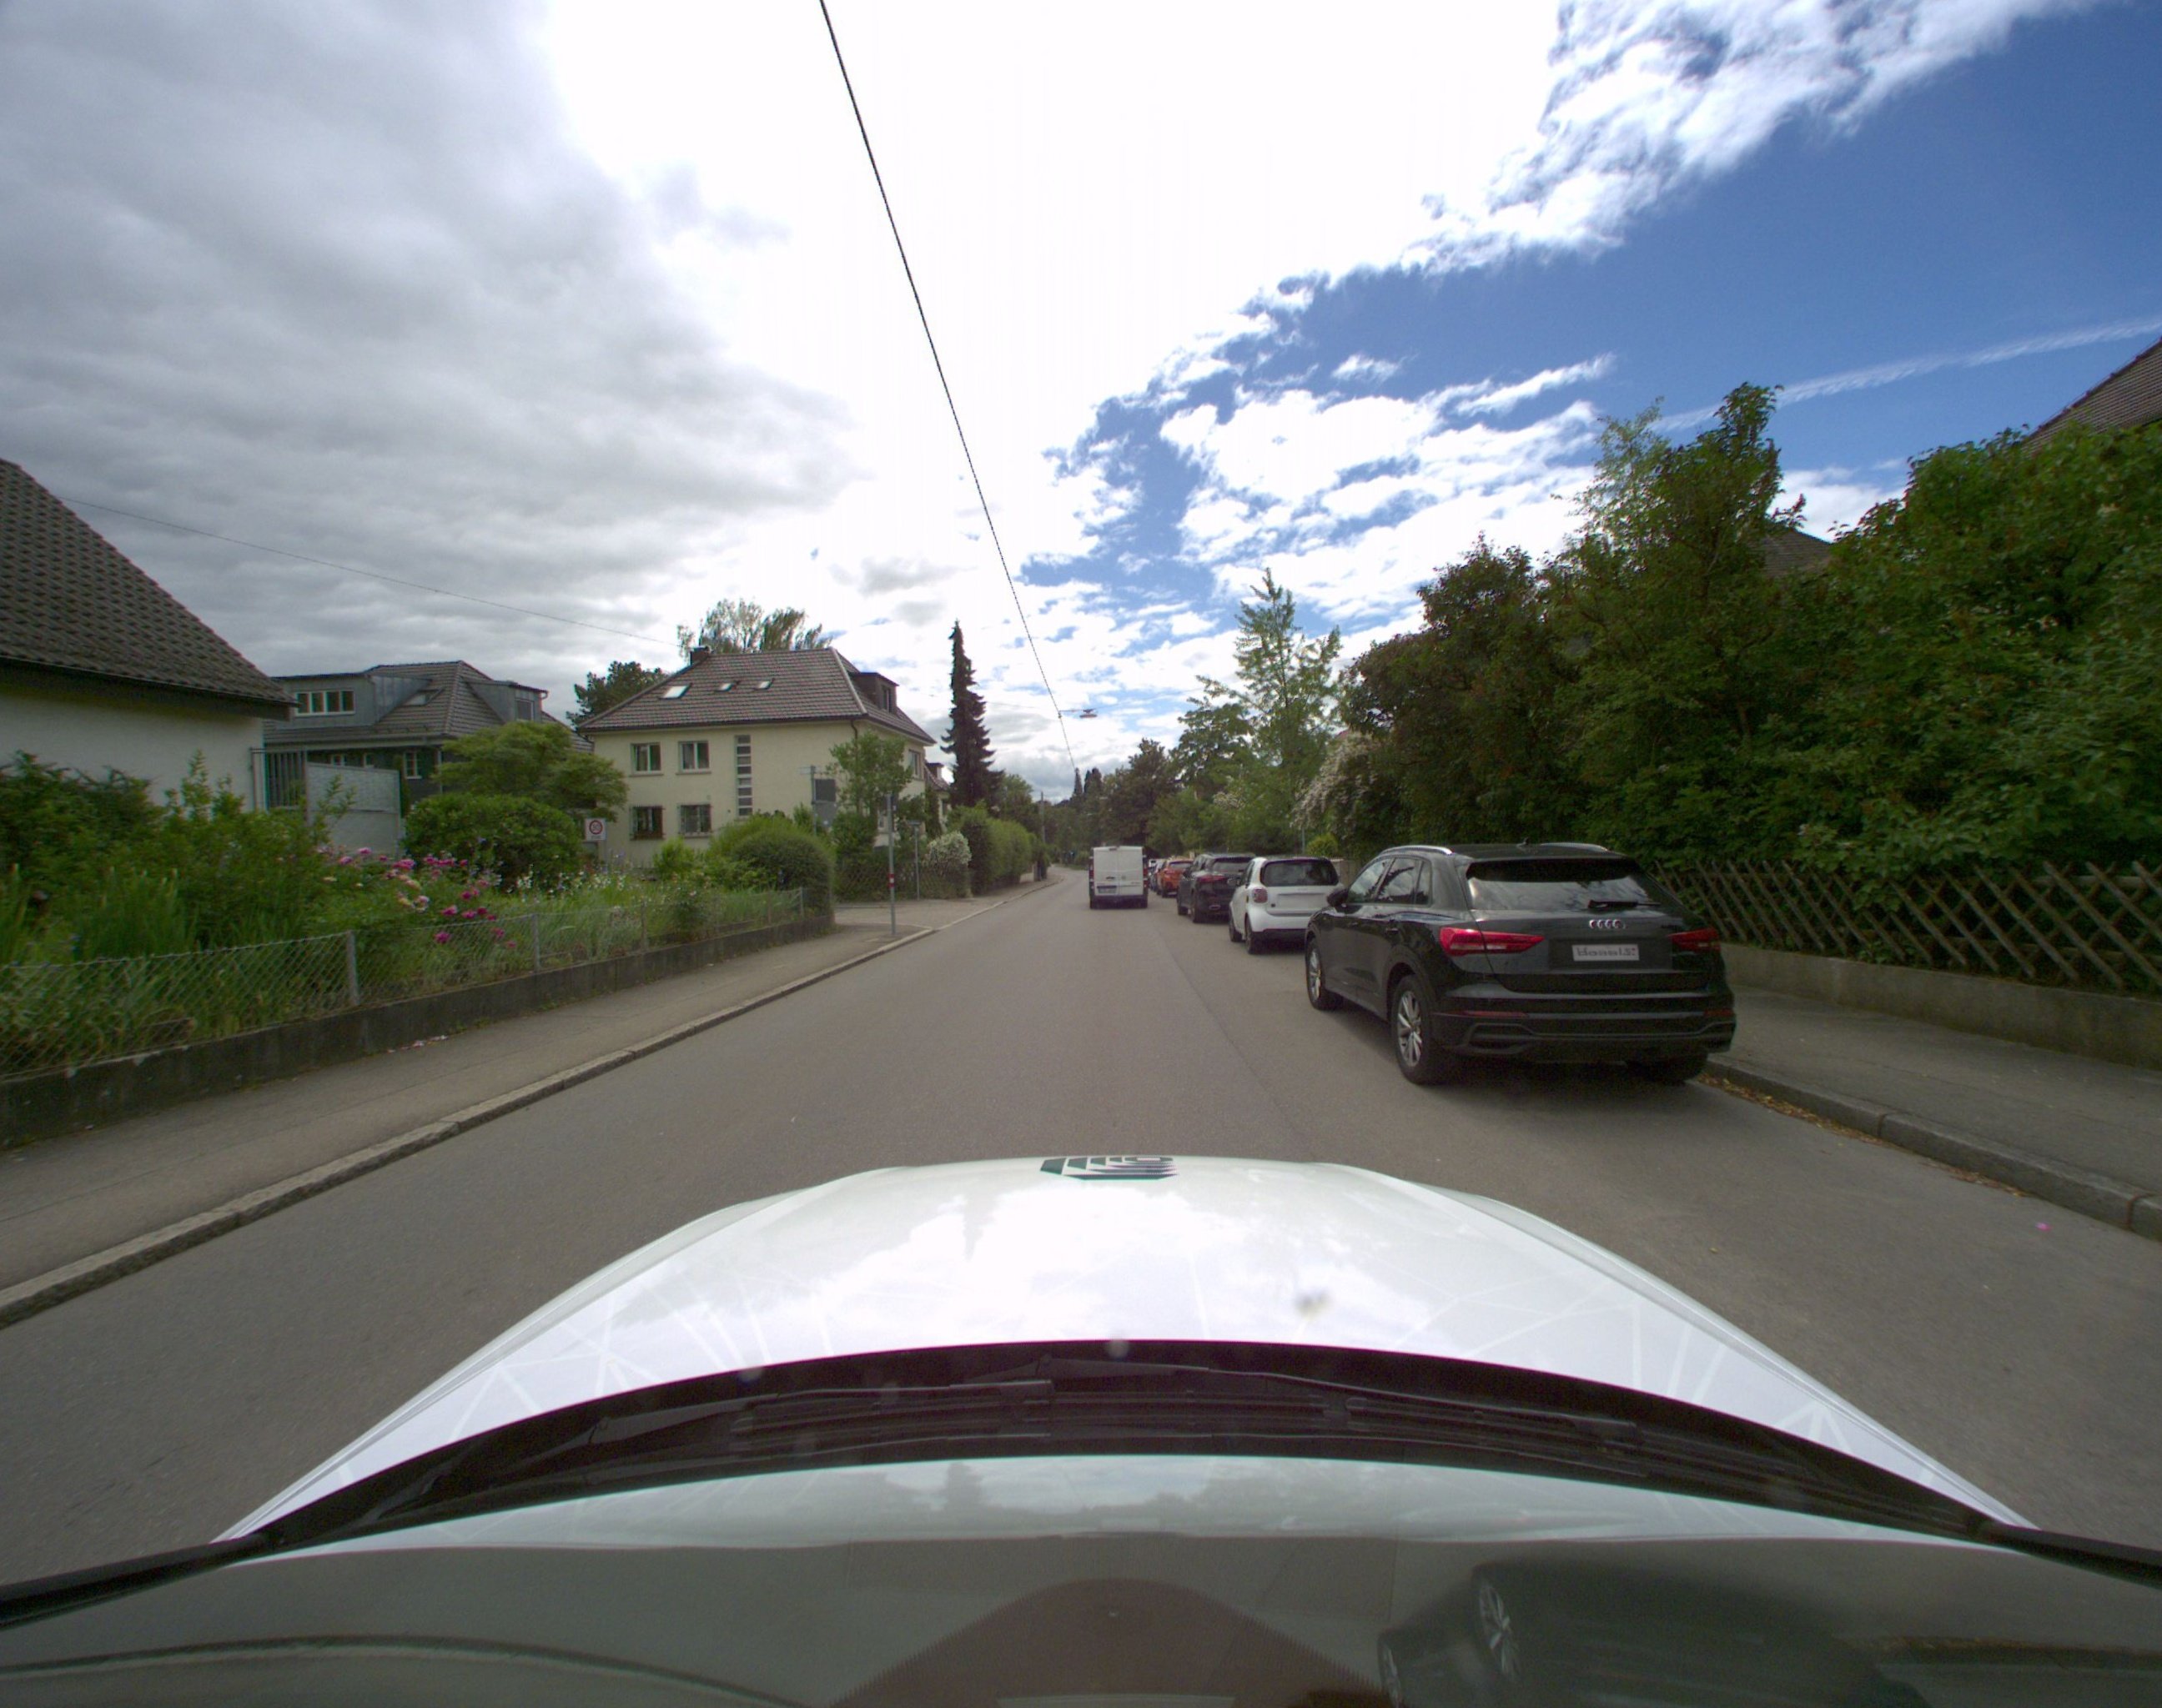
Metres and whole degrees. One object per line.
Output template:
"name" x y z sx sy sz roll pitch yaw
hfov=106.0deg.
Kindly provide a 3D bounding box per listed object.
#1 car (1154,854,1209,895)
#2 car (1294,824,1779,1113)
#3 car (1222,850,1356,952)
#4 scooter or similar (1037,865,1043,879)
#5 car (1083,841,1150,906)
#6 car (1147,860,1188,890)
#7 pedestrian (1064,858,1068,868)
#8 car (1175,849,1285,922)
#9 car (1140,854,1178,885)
"car" 4.142 0.830 34.097 1.844 1.627 4.169 0 -1 1
"car" 3.096 0.667 6.661 1.793 1.592 4.144 -1 -1 3
"car" 3.431 0.733 13.923 1.592 1.510 3.015 -1 -1 2
"scooter or similar" -3.477 1.540 68.952 0.390 1.171 1.270 -1 -1 0
"car" 1.098 0.603 27.141 1.924 1.964 4.400 -1 0 -1
"car" 4.236 1.007 40.427 1.710 1.382 4.237 -1 -1 2
"pedestrian" -2.735 1.596 145.765 0.696 1.616 0.714 -1 1 -5
"car" 3.573 0.723 20.359 1.944 1.627 4.375 0 -1 0
"car" 4.340 0.840 45.878 1.822 1.623 4.493 -1 -1 2
